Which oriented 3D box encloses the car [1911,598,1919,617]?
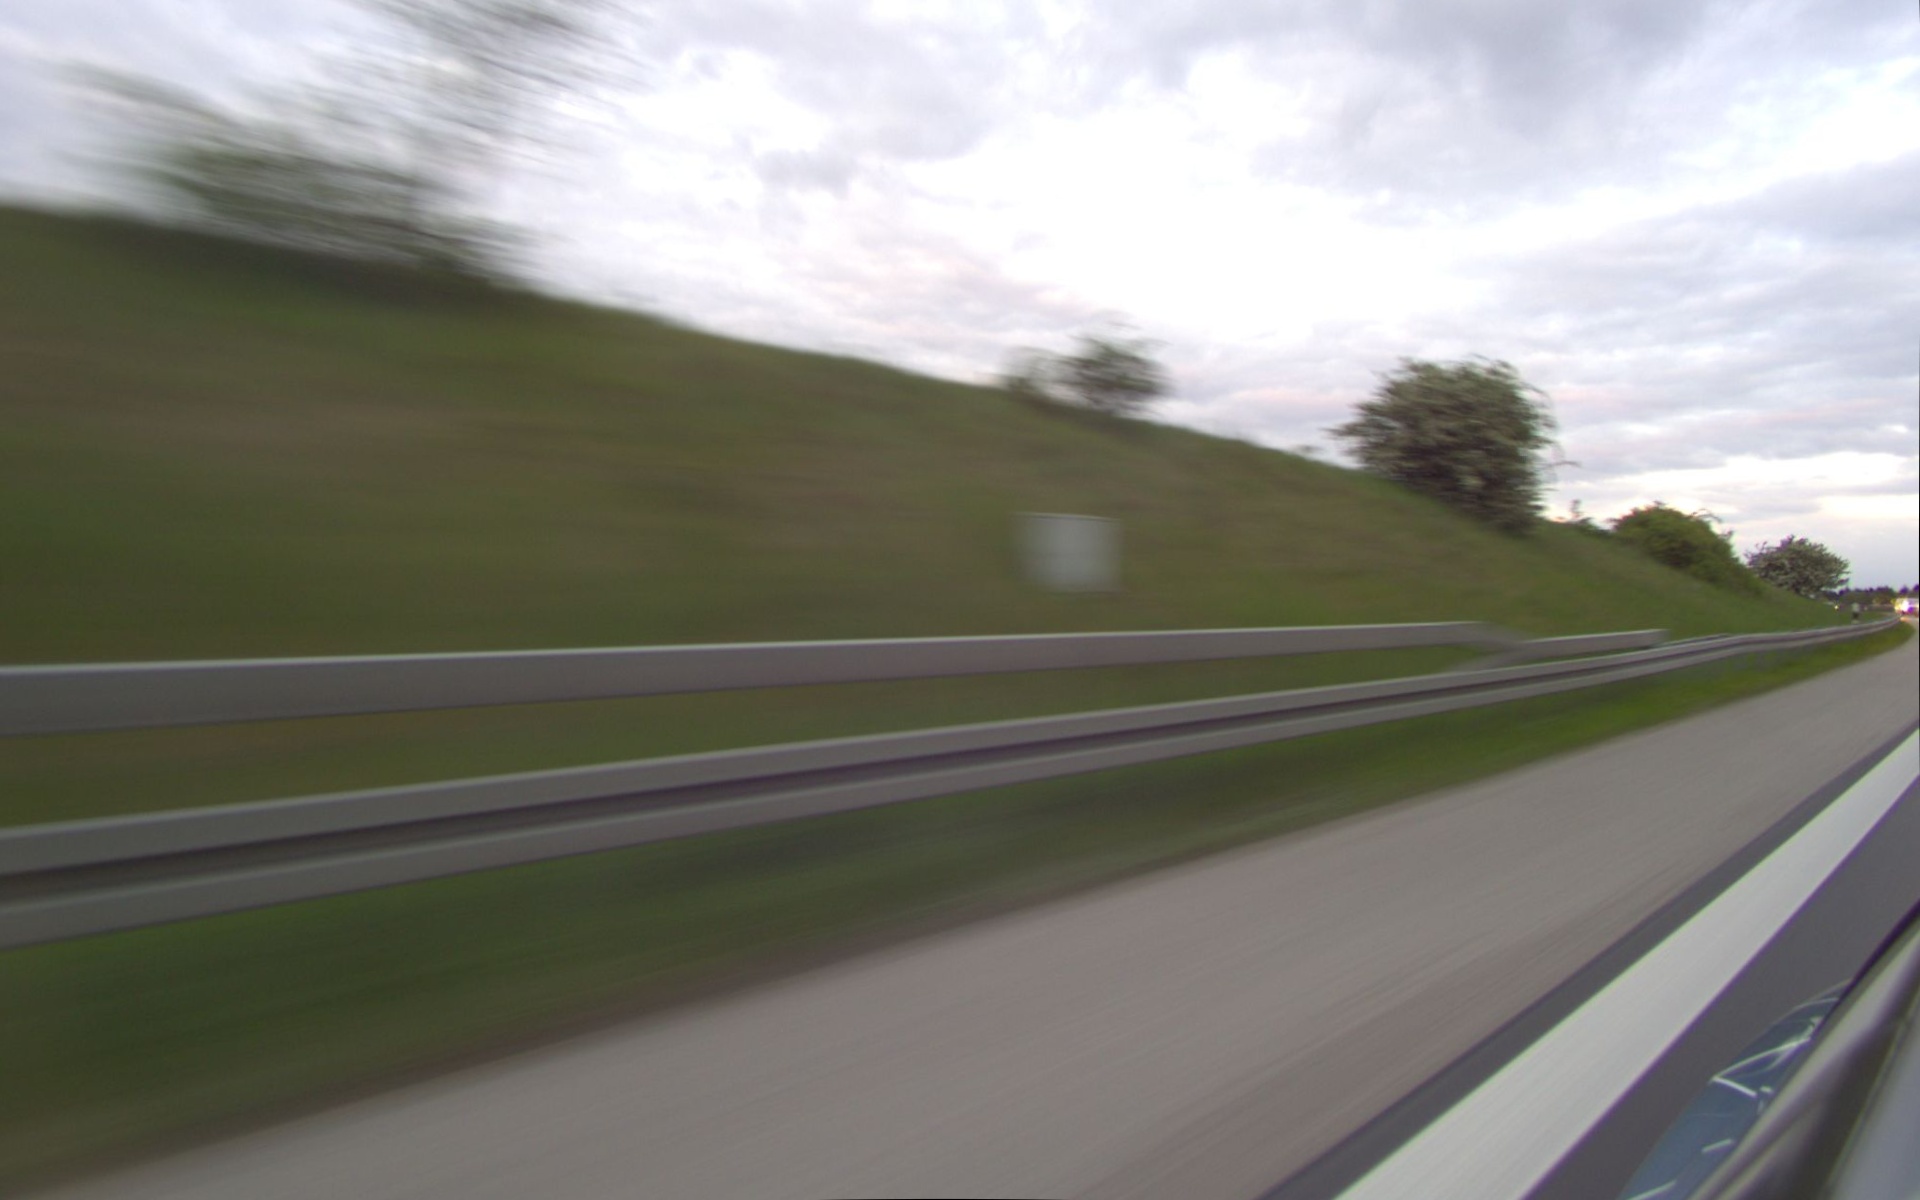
[{"bbox_3d":[101.142,0.818,106.129,1.914,1.860,3.938,3,2,42],"label":"car"}]
